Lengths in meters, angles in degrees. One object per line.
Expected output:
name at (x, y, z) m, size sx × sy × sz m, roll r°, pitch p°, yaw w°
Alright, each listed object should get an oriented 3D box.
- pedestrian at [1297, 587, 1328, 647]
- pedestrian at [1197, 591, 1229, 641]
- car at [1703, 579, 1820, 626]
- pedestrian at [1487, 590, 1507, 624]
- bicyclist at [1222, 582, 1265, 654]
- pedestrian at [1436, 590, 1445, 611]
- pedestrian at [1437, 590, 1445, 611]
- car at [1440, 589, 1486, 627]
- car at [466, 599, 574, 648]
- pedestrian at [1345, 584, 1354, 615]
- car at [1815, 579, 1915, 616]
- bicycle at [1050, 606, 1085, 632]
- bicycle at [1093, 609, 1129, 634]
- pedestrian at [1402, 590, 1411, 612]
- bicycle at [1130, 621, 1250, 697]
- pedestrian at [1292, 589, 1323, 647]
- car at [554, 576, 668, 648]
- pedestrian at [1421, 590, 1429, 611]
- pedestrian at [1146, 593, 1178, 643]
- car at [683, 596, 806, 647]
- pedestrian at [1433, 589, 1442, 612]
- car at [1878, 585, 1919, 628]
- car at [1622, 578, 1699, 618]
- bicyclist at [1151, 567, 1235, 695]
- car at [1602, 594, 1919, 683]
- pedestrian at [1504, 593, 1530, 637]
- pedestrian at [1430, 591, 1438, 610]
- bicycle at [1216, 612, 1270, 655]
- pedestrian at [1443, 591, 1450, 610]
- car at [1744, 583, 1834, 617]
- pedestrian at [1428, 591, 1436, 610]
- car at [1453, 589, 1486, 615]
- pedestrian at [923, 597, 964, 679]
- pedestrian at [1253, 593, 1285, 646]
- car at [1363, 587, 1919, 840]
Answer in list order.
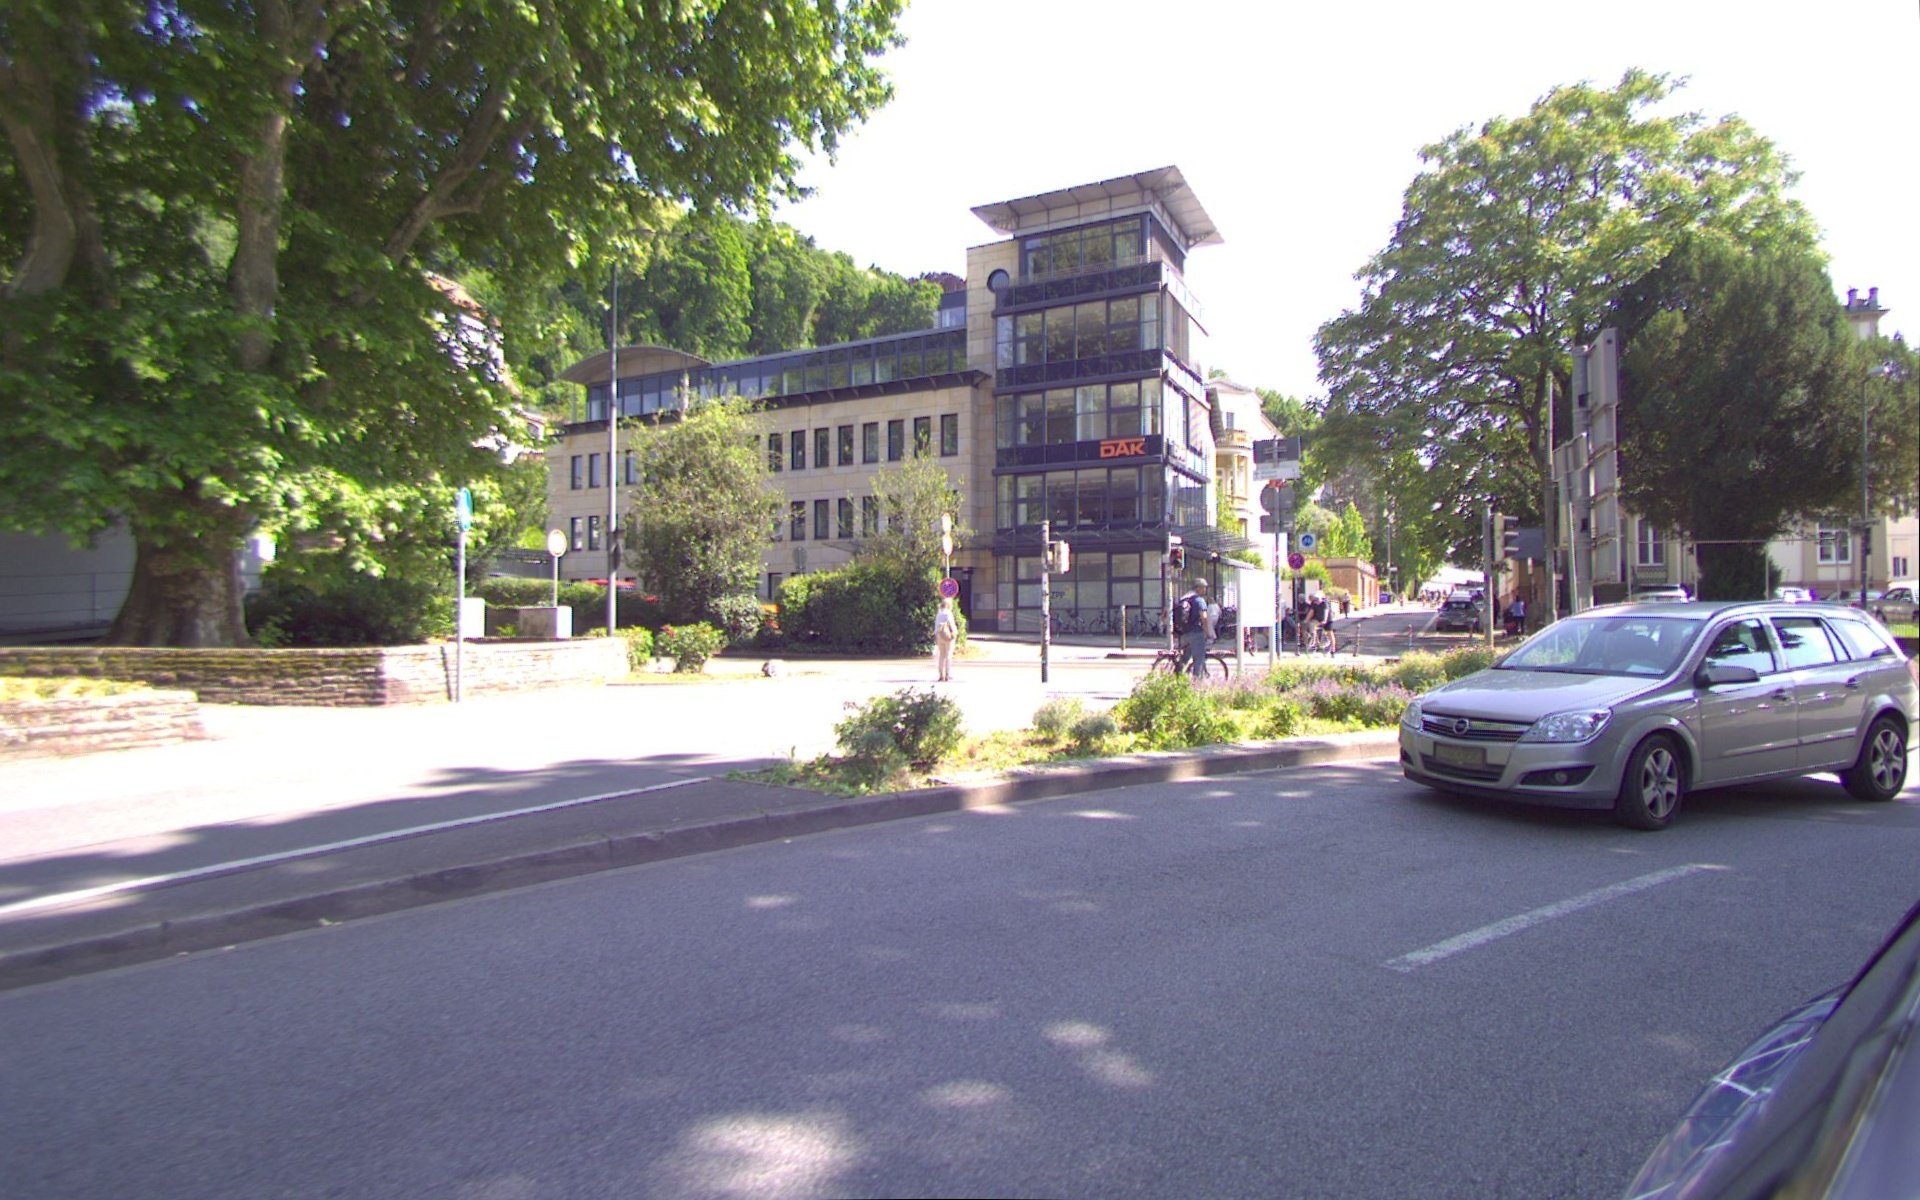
pedestrian at (11.368, 0.549, 32.605) m, size 0.822 × 1.878 × 0.765 m, roll -1°, pitch -2°, yaw 29°
pedestrian at (8.702, 0.562, 34.816) m, size 0.824 × 1.684 × 0.763 m, roll -1°, pitch -2°, yaw 36°
car at (26.981, 0.099, 34.219) m, size 1.854 × 1.494 × 4.128 m, roll -1°, pitch -1°, yaw 20°
pedestrian at (25.233, 0.327, 47.569) m, size 0.763 × 1.566 × 0.661 m, roll -1°, pitch -1°, yaw 27°
bicyclist at (7.865, 0.496, 28.030) m, size 0.744 × 1.957 × 1.114 m, roll -2°, pitch -2°, yaw 38°
pedestrian at (45.538, 0.039, 95.925) m, size 0.715 × 2.039 × 0.854 m, roll -1°, pitch -1°, yaw 24°
pedestrian at (47.430, 0.042, 99.811) m, size 0.715 × 2.039 × 0.854 m, roll -1°, pitch -1°, yaw 24°
car at (23.270, 0.372, 46.942) m, size 1.815 × 1.667 × 4.096 m, roll -1°, pitch 0°, yaw 26°
car at (-17.805, 0.949, 40.956) m, size 3.958 × 1.886 × 1.921 m, roll -2°, pitch -1°, yaw 26°
pedestrian at (25.380, -0.048, 65.933) m, size 0.487 × 2.039 × 0.575 m, roll -1°, pitch -1°, yaw 21°
car at (36.901, -0.078, 41.391) m, size 1.801 × 1.437 × 4.031 m, roll -1°, pitch -1°, yaw 23°
bicycle at (4.240, 0.743, 40.036) m, size 1.327 × 1.025 × 0.403 m, roll -1°, pitch -1°, yaw 26°
bicycle at (5.828, 0.820, 39.110) m, size 1.327 × 0.953 × 0.403 m, roll -1°, pitch -1°, yaw 26°
pedestrian at (40.889, 0.099, 92.718) m, size 0.715 × 2.039 × 0.854 m, roll -1°, pitch -1°, yaw 24°
bicycle at (3.663, 0.897, 16.022) m, size 2.046 × 1.127 × 0.756 m, roll 0°, pitch -2°, yaw -40°
pedestrian at (11.486, 0.595, 33.444) m, size 0.822 × 1.878 × 0.765 m, roll -1°, pitch -2°, yaw 29°
car at (-13.386, 0.476, 38.811) m, size 3.958 × 2.605 × 1.920 m, roll -2°, pitch -1°, yaw 26°
pedestrian at (46.379, 0.075, 100.873) m, size 0.715 × 2.039 × 1.009 m, roll -1°, pitch -1°, yaw 24°
pedestrian at (6.938, 0.613, 34.821) m, size 0.824 × 1.684 × 0.763 m, roll -1°, pitch -2°, yaw 36°
car at (-7.732, 0.775, 36.290) m, size 3.958 × 1.719 × 1.921 m, roll -2°, pitch -1°, yaw 26°
pedestrian at (43.233, 0.040, 91.682) m, size 0.715 × 2.039 × 0.854 m, roll -1°, pitch -1°, yaw 24°
car at (31.079, 0.192, 31.843) m, size 1.801 × 1.353 × 4.446 m, roll -1°, pitch -1°, yaw 23°
car at (30.124, -0.055, 43.653) m, size 1.801 × 1.624 × 4.288 m, roll -1°, pitch -1°, yaw 23°
bicyclist at (3.699, 0.480, 16.055) m, size 1.109 × 1.957 × 0.747 m, roll 1°, pitch -2°, yaw -40°
car at (14.490, 0.655, 18.145) m, size 4.695 × 1.456 × 1.985 m, roll -1°, pitch 0°, yaw 22°
pedestrian at (20.488, 0.556, 37.228) m, size 0.734 × 1.601 × 1.112 m, roll -2°, pitch -1°, yaw 27°
pedestrian at (51.772, 0.070, 110.599) m, size 0.715 × 2.039 × 0.854 m, roll -1°, pitch -1°, yaw 24°
bicycle at (7.841, 0.904, 27.983) m, size 0.752 × 1.127 × 2.055 m, roll -1°, pitch -2°, yaw 37°
pedestrian at (53.113, 0.042, 110.497) m, size 0.715 × 2.039 × 0.854 m, roll -1°, pitch -1°, yaw 24°
car at (34.785, 0.022, 42.592) m, size 1.801 × 1.353 × 4.057 m, roll -1°, pitch -1°, yaw 23°
pedestrian at (49.117, 0.067, 105.253) m, size 0.715 × 2.039 × 0.854 m, roll -1°, pitch -1°, yaw 24°
car at (33.440, 0.145, 66.549) m, size 1.815 × 1.667 × 4.096 m, roll -1°, pitch 0°, yaw 26°
pedestrian at (-0.336, 0.755, 20.603) m, size 0.630 × 1.641 × 0.542 m, roll -1°, pitch -1°, yaw 35°
pedestrian at (10.056, 0.644, 32.916) m, size 0.822 × 1.684 × 0.765 m, roll -1°, pitch -2°, yaw 30°
car at (5.418, 0.667, 7.730) m, size 4.397 × 1.519 × 1.724 m, roll 0°, pitch 0°, yaw -23°
